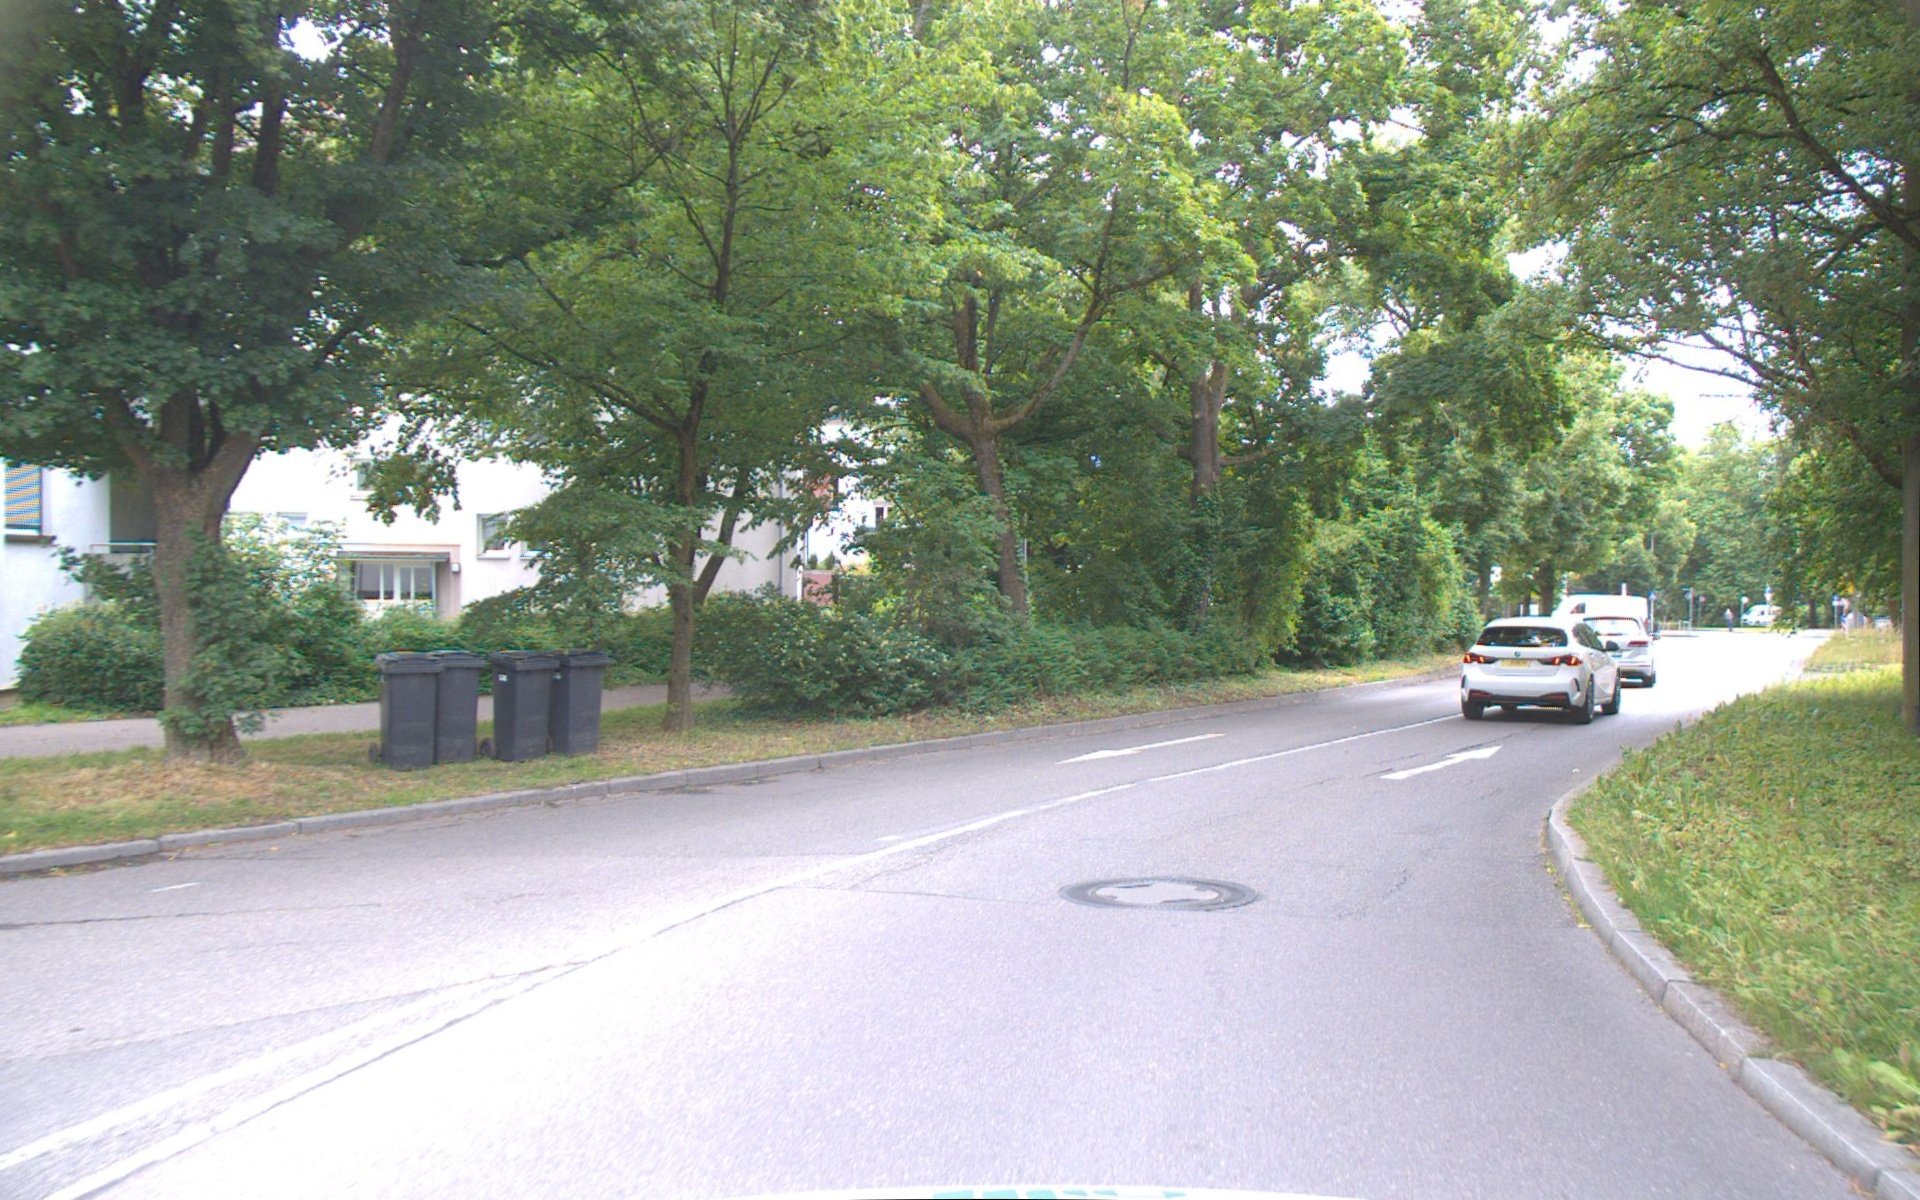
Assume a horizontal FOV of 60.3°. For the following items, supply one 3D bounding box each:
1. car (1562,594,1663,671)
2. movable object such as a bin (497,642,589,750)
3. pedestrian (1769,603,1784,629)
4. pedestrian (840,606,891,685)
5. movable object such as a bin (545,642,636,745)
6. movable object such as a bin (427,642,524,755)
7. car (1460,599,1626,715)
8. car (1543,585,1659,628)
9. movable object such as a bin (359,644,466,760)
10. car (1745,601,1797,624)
[{"bbox_3d":[14.441,0.676,36.512,1.884,1.601,3.998,0,0,24],"label":"car"},{"bbox_3d":[-3.657,0.829,14.490,0.572,0.881,0.592,1,2,-39],"label":"movable object such as a bin"},{"bbox_3d":[62.987,1.198,127.608,0.905,1.904,1.018,-4,1,27],"label":"pedestrian"},{"bbox_3d":[-1.897,0.910,33.319,0.597,1.526,0.870,3,2,31],"label":"pedestrian"},{"bbox_3d":[-3.318,0.828,14.842,0.572,0.859,0.592,1,2,-39],"label":"movable object such as a bin"},{"bbox_3d":[-4.138,0.828,14.120,0.587,0.894,0.612,1,2,-39],"label":"movable object such as a bin"},{"bbox_3d":[8.795,0.804,24.743,1.761,1.544,4.201,1,0,28],"label":"car"},{"bbox_3d":[42.025,0.447,108.463,6.825,2.565,2.082,1,2,-7],"label":"car"},{"bbox_3d":[-4.557,0.831,13.754,0.616,0.878,0.721,1,2,-38],"label":"movable object such as a bin"},{"bbox_3d":[90.603,1.369,184.850,5.290,2.337,2.125,2,2,-21],"label":"car"}]
